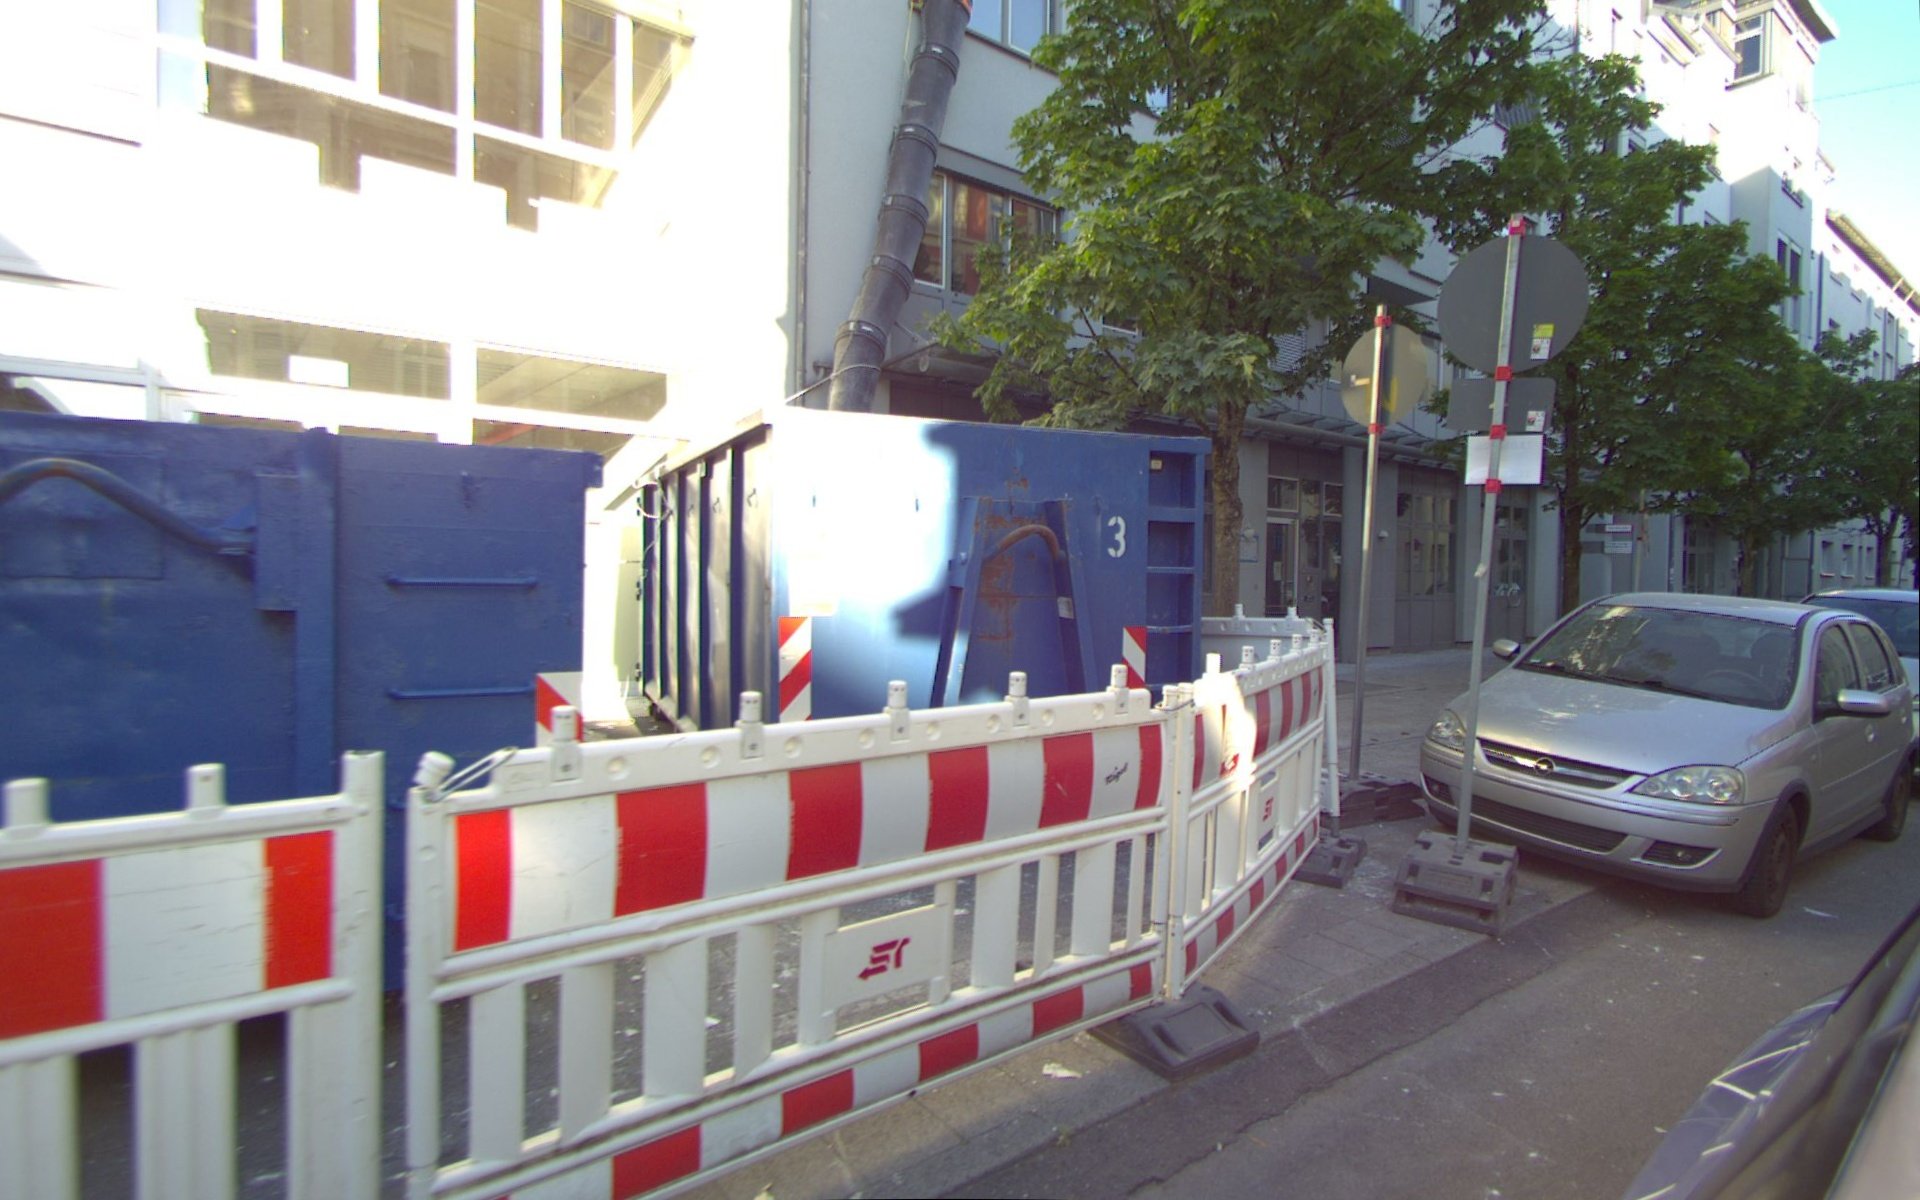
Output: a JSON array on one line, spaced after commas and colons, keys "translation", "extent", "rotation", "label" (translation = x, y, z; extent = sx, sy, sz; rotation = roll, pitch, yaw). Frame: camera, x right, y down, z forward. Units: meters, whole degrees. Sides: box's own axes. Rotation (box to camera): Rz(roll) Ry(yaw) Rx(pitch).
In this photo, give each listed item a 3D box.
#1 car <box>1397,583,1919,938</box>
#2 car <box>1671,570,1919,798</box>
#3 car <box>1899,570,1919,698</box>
[{"translation": [4.483, 0.636, 6.045], "extent": [3.990, 1.465, 1.639], "rotation": [-1, 1, -36], "label": "car"}, {"translation": [8.007, 0.557, 8.712], "extent": [3.925, 1.605, 1.914], "rotation": [-1, 1, -36], "label": "car"}, {"translation": [14.905, 0.444, 14.163], "extent": [4.309, 1.710, 1.864], "rotation": [-1, 1, -37], "label": "car"}]
